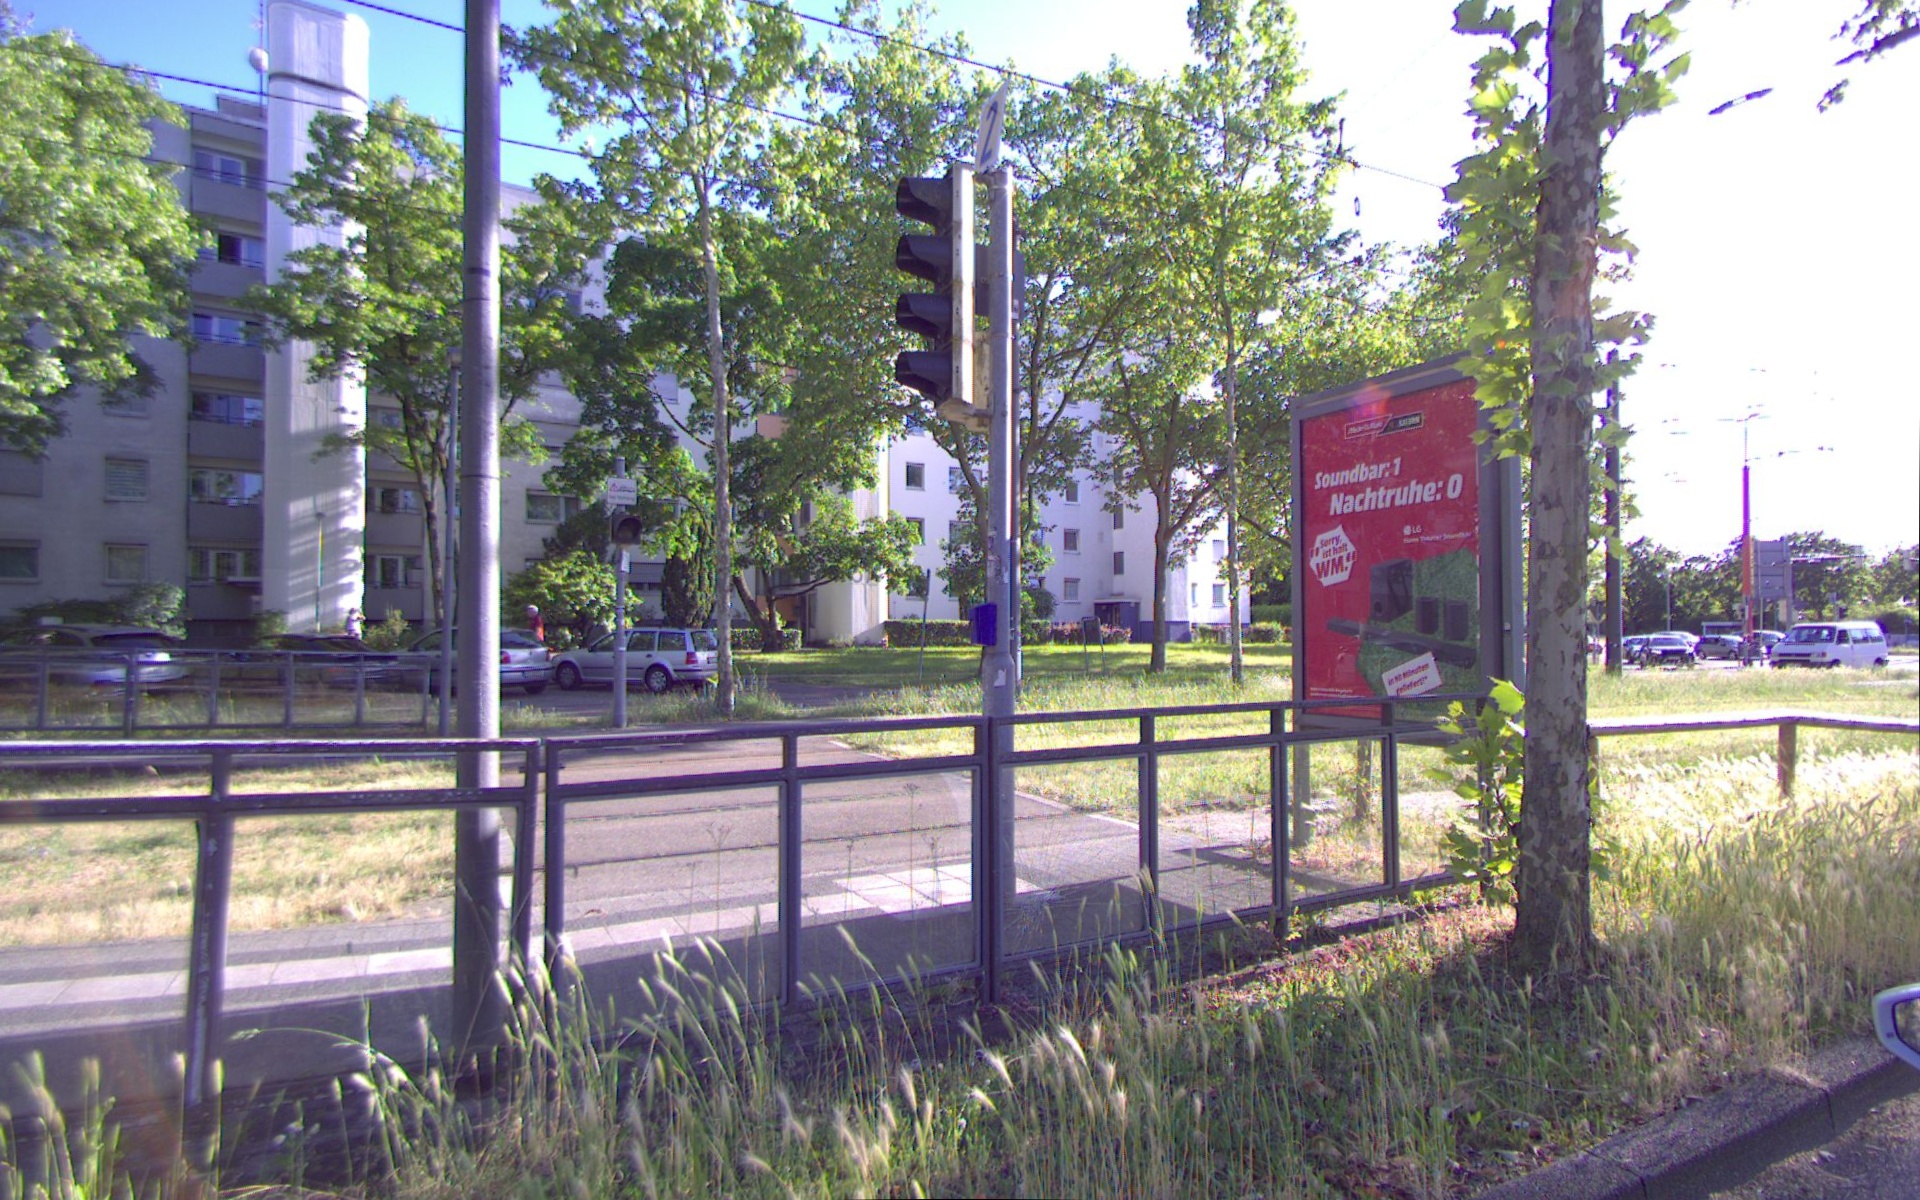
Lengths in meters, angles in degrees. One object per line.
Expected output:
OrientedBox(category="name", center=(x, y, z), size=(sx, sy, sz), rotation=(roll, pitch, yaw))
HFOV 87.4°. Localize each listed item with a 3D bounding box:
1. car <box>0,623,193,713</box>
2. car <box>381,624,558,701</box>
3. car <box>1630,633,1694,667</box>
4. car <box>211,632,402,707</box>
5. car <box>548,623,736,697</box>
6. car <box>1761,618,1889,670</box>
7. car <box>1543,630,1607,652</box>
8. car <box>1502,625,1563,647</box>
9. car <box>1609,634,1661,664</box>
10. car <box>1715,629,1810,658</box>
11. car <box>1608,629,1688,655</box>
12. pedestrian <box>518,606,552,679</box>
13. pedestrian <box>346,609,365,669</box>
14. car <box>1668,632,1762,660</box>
OrientedBox(category="car", center=(-15.765, 1.155, 17.933), size=(3.316, 1.445, 1.541), rotation=(1, -1, 14))
OrientedBox(category="car", center=(-10.444, 1.283, 21.430), size=(3.222, 1.450, 1.571), rotation=(1, -1, 19))
OrientedBox(category="car", center=(35.243, 2.467, 50.537), size=(1.864, 1.564, 4.496), rotation=(1, -1, 26))
OrientedBox(category="car", center=(-12.800, 1.316, 19.684), size=(3.318, 1.270, 1.465), rotation=(1, -1, 21))
OrientedBox(category="car", center=(-7.230, 1.310, 22.885), size=(3.843, 1.495, 1.632), rotation=(1, -1, 19))
OrientedBox(category="car", center=(31.699, 1.618, 36.813), size=(4.504, 1.804, 1.818), rotation=(2, -1, -24))
OrientedBox(category="car", center=(45.830, 3.036, 74.937), size=(1.783, 1.455, 4.041), rotation=(-2, -1, -10))
OrientedBox(category="car", center=(46.565, 2.922, 81.806), size=(1.866, 1.632, 4.492), rotation=(-2, -1, -10))
OrientedBox(category="car", center=(39.016, 2.795, 58.169), size=(1.864, 1.564, 4.496), rotation=(1, -1, 26))
OrientedBox(category="car", center=(49.749, 2.683, 62.397), size=(1.866, 1.632, 4.493), rotation=(-2, -2, -10))
OrientedBox(category="car", center=(46.997, 2.882, 68.765), size=(1.866, 1.632, 4.493), rotation=(-2, -2, -10))
OrientedBox(category="pedestrian", center=(-10.716, 1.076, 25.346), size=(0.709, 1.815, 0.473), rotation=(1, -1, -30))
OrientedBox(category="pedestrian", center=(-18.363, 1.175, 30.518), size=(0.445, 1.815, 0.315), rotation=(1, -1, -36))
OrientedBox(category="car", center=(46.362, 2.811, 61.797), size=(1.866, 1.632, 4.493), rotation=(-2, -2, -10))
